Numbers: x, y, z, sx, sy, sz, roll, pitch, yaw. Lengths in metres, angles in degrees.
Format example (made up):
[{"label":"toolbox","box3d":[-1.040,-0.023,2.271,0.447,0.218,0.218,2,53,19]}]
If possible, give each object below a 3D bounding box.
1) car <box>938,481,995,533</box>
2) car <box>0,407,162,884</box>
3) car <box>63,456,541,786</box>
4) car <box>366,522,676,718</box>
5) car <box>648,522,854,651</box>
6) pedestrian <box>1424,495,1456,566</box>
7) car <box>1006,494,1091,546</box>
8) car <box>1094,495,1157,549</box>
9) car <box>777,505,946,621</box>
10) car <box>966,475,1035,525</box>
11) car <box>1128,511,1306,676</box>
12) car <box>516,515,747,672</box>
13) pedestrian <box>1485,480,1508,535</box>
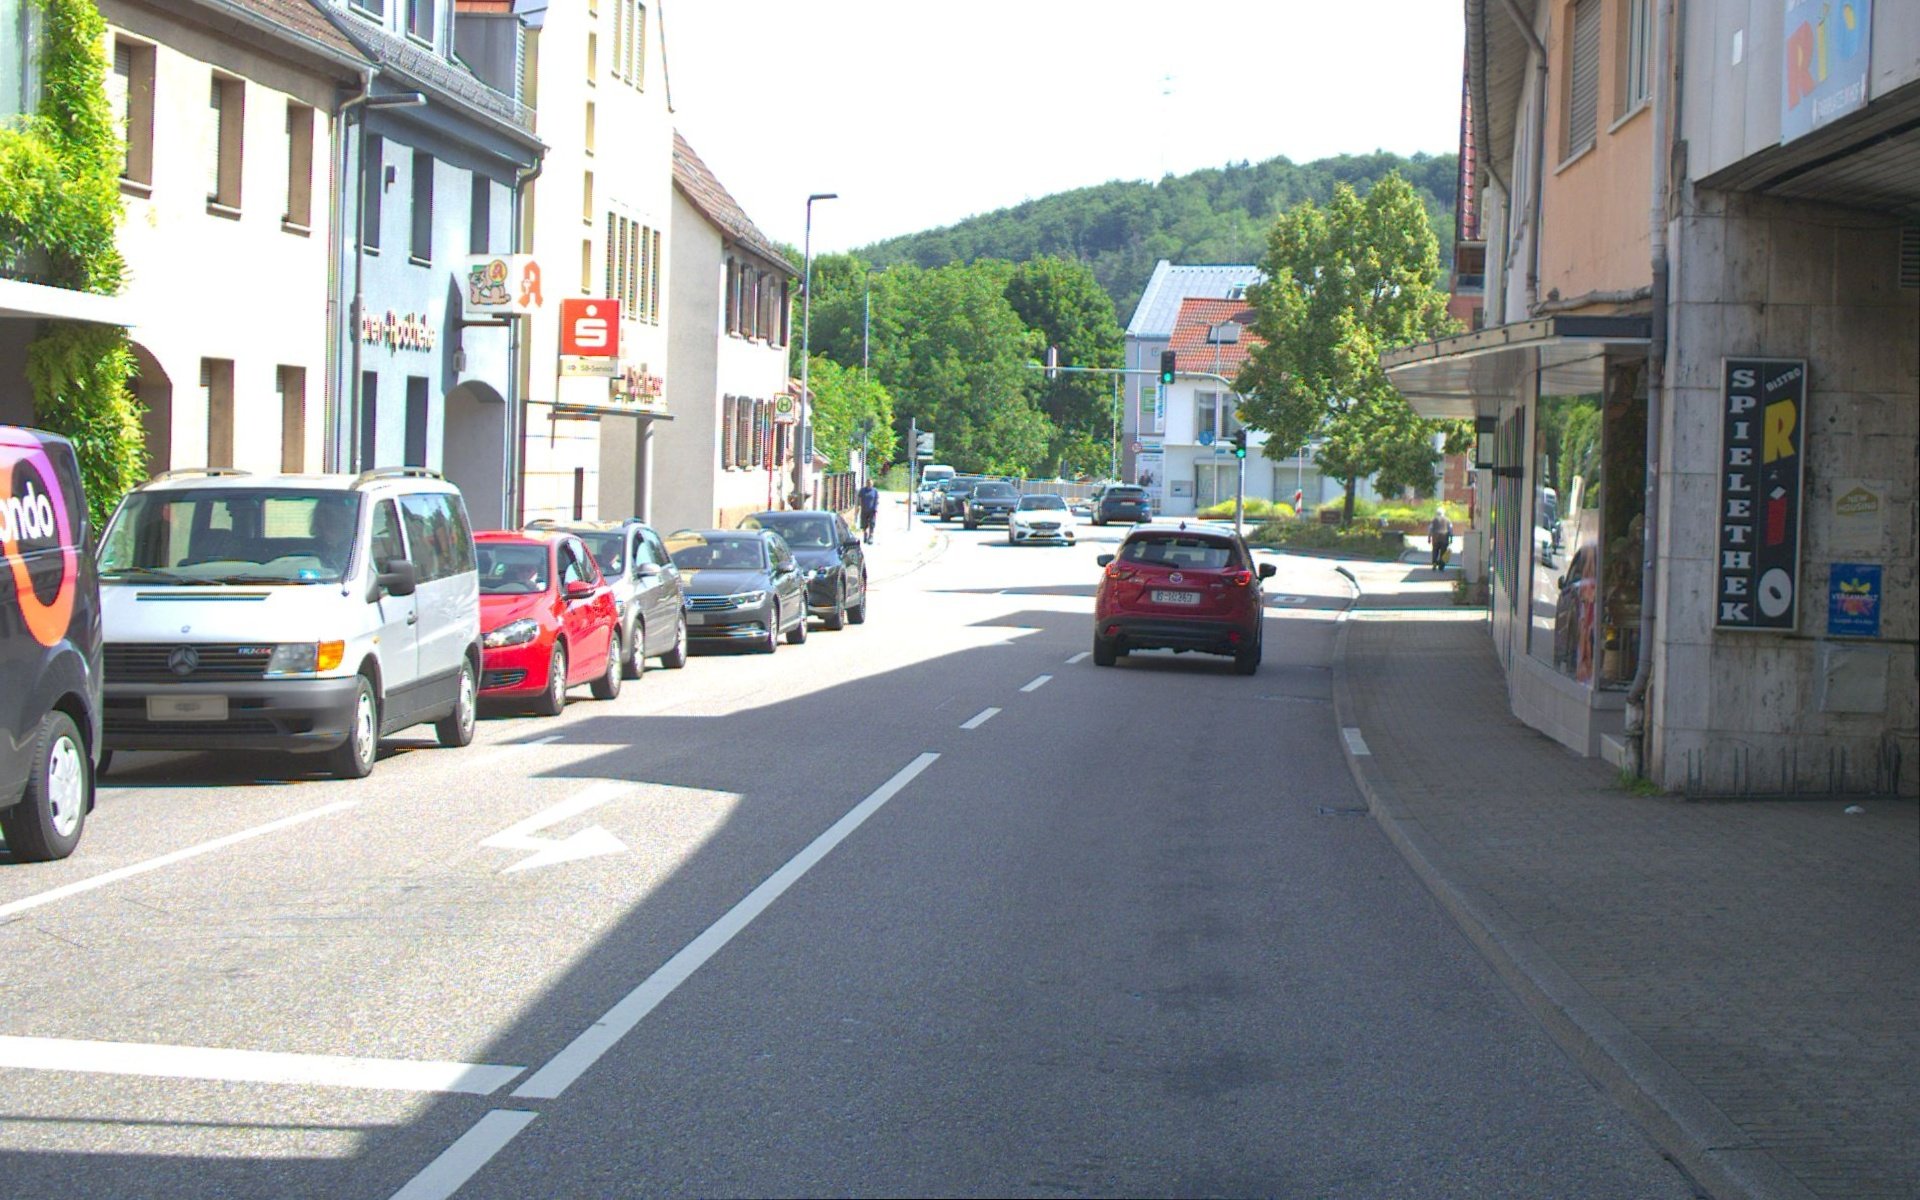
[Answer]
[{"label":"car","box3d":[0.250,-3.399,126.372,1.775,1.778,3.838,1,0,5]},{"label":"car","box3d":[-4.940,0.179,13.666,2.159,1.916,5.165,0,1,2]},{"label":"car","box3d":[-4.056,0.063,21.994,1.883,1.884,4.551,0,1,4]},{"label":"car","box3d":[-3.552,0.103,28.516,1.759,1.487,4.076,1,1,4]},{"label":"car","box3d":[-2.462,-0.203,41.488,1.789,1.445,4.423,1,1,6]},{"label":"pedestrian","box3d":[11.706,-1.689,83.862,0.642,1.701,0.700,1,0,0]},{"label":"car","box3d":[2.606,-2.347,100.274,1.988,1.439,5.100,1,1,7]},{"label":"car","box3d":[5.969,-2.794,123.700,1.933,1.788,3.955,1,0,7]},{"label":"car","box3d":[-1.366,-0.567,49.652,1.868,1.584,4.517,1,1,6]},{"label":"car","box3d":[1.384,-3.369,115.039,1.840,1.527,4.252,1,3,7]},{"label":"car","box3d":[3.023,-0.128,39.863,1.859,1.709,4.421,3,2,5]},{"label":"car","box3d":[-3.339,-0.112,35.600,1.629,1.515,4.019,1,1,6]},{"label":"pedestrian","box3d":[18.545,-3.181,118.835,0.642,1.872,0.652,1,0,0]}]
